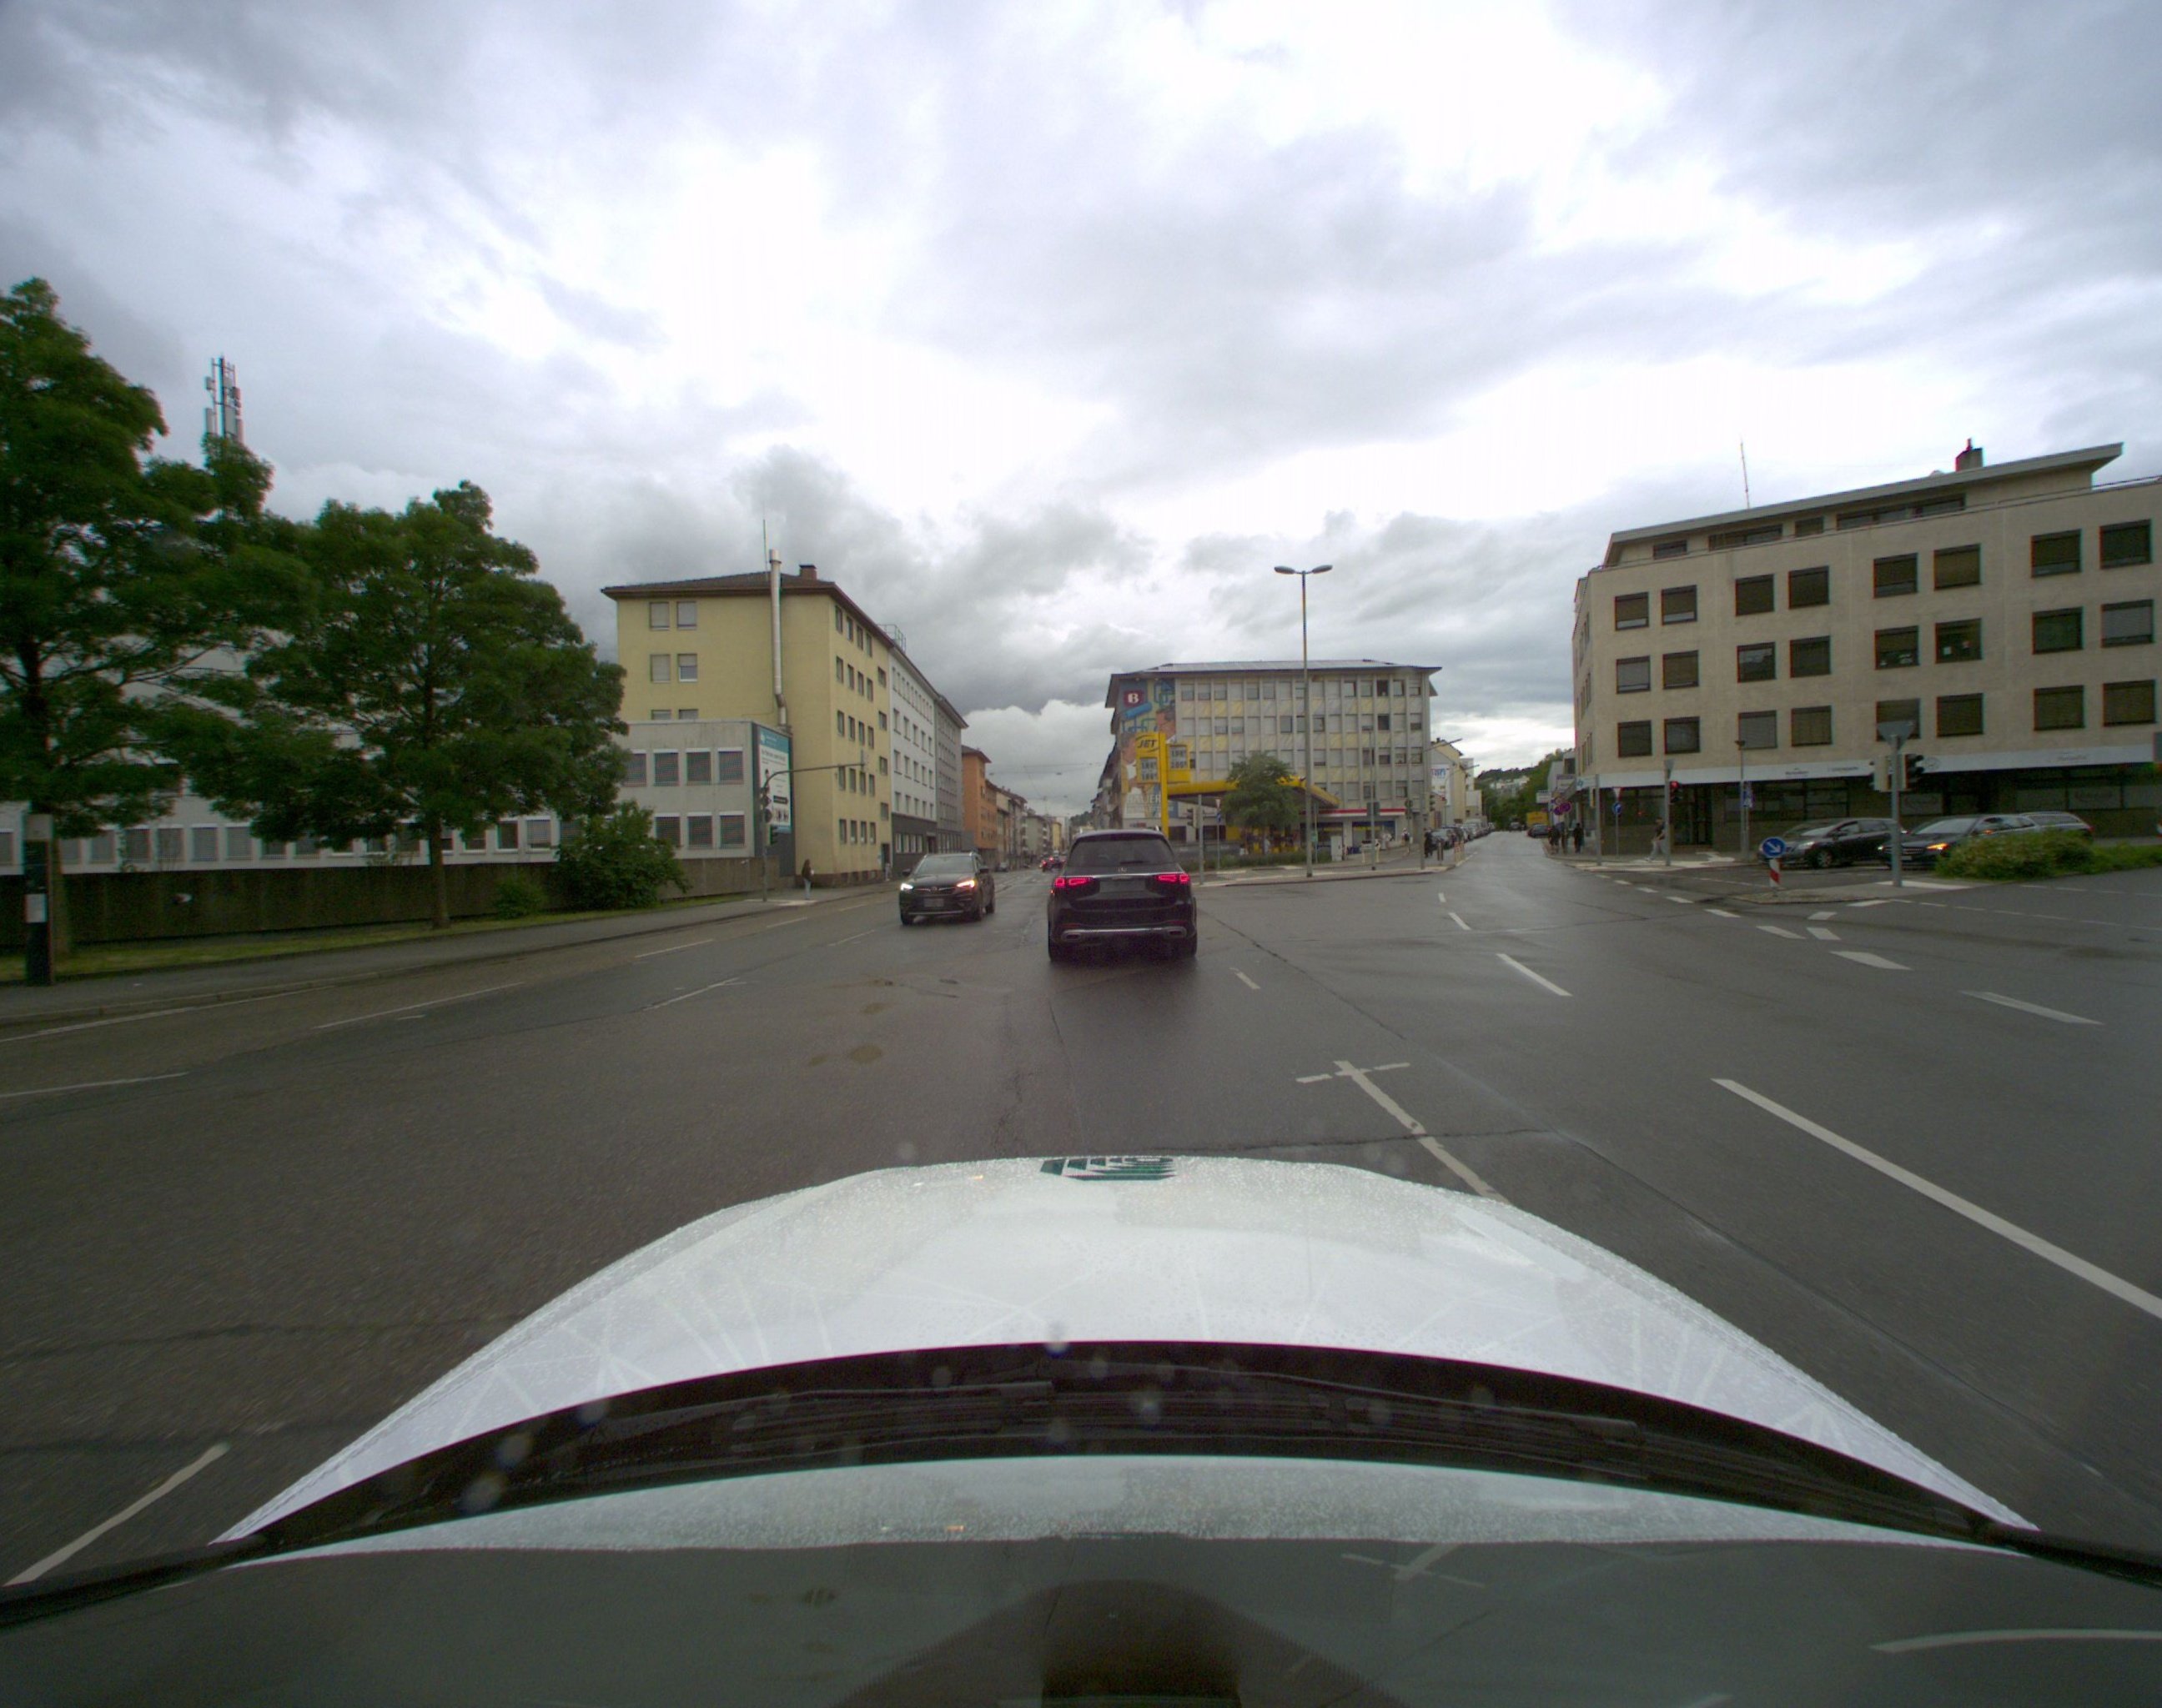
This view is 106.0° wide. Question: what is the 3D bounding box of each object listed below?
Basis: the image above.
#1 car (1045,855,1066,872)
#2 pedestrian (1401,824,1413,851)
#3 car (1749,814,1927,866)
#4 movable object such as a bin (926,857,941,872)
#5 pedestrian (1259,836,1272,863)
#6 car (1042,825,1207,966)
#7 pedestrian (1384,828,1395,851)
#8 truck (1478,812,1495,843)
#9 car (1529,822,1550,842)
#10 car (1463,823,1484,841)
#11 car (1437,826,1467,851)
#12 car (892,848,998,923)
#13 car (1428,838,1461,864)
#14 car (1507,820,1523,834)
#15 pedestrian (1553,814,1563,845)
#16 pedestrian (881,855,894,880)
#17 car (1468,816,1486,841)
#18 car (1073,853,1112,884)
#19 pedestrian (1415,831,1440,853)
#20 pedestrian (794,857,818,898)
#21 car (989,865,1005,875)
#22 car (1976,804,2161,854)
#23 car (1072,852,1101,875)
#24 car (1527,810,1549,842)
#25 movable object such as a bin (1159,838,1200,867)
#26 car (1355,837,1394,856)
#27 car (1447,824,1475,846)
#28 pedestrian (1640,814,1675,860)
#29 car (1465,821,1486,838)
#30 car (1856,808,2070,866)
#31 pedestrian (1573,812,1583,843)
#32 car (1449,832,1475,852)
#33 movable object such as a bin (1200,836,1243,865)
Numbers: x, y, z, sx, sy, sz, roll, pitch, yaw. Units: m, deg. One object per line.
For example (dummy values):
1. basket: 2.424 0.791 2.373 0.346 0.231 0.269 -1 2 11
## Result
1. car: -2.571 0.935 83.793 2.070 1.650 4.293 0 0 -1
2. pedestrian: 21.277 -1.051 53.144 0.671 1.758 0.735 0 -1 22
3. car: 25.040 -0.448 27.001 4.470 1.444 1.993 -3 0 -10
4. movable object such as a bin: -12.764 0.882 70.406 1.073 1.324 1.190 0 0 -1
5. pedestrian: 11.110 -0.264 49.080 0.662 1.585 0.847 0 -1 2
6. car: 0.525 0.523 12.505 2.070 1.765 4.609 0 0 -1
7. pedestrian: 20.762 -0.980 54.808 0.578 1.515 0.474 1 -1 -41
8. truck: 54.045 -3.480 108.504 1.975 3.914 5.518 0 0 28
9. car: 49.554 -2.383 87.969 1.974 2.014 4.025 0 0 30
10. car: 43.552 -2.379 90.325 1.975 1.865 4.607 0 0 28
11. car: 30.232 -1.226 66.332 1.975 1.865 4.607 0 0 28
12. car: -3.180 0.682 19.854 1.802 1.594 4.295 -1 0 0
13. car: 27.618 -0.213 61.765 1.975 1.865 4.607 0 0 28
14. car: 67.740 -4.131 127.108 1.974 2.014 4.025 0 0 30
15. pedestrian: 27.388 -1.390 46.759 0.473 1.742 0.578 0 -1 29
16. pedestrian: -13.262 0.909 55.796 0.714 1.689 0.811 0 -1 1
17. car: 49.821 -3.191 102.415 1.975 2.973 4.607 0 0 28
18. car: 0.589 0.766 45.107 2.070 1.650 4.293 0 0 -1
19. pedestrian: 20.844 -0.711 49.008 0.922 1.353 1.100 1 -1 -41
20. pedestrian: -11.540 0.977 34.169 0.714 1.689 0.811 0 -1 1
21. car: -12.012 2.289 116.642 1.886 1.458 4.545 0 0 -2
22. car: 33.795 -0.828 27.827 4.463 1.444 1.997 -3 0 -5
23. car: 0.379 0.715 60.606 2.070 1.650 4.293 0 0 -1
24. car: 56.488 -3.430 100.743 2.354 3.688 5.024 0 0 29
25. movable object such as a bin: 5.680 -0.059 47.175 2.149 1.574 1.773 -2 0 0
26. car: 25.344 -0.614 70.264 1.974 1.516 4.446 -3 -2 36
27. car: 33.682 -1.651 72.138 1.975 1.865 4.607 0 0 28
28. pedestrian: 22.790 -0.666 32.207 0.854 1.791 0.773 0 -1 -5
29. car: 46.287 -2.861 95.508 1.975 1.865 4.607 0 0 28
30. car: 26.218 -0.503 24.313 4.462 1.444 1.997 -3 0 -5
31. pedestrian: 28.167 -1.488 46.133 0.473 1.742 0.578 0 -1 29
32. car: 36.415 -1.126 77.777 1.975 1.865 4.607 0 0 28
33. movable object such as a bin: 8.151 -0.202 47.376 2.149 1.555 1.773 -3 0 0
